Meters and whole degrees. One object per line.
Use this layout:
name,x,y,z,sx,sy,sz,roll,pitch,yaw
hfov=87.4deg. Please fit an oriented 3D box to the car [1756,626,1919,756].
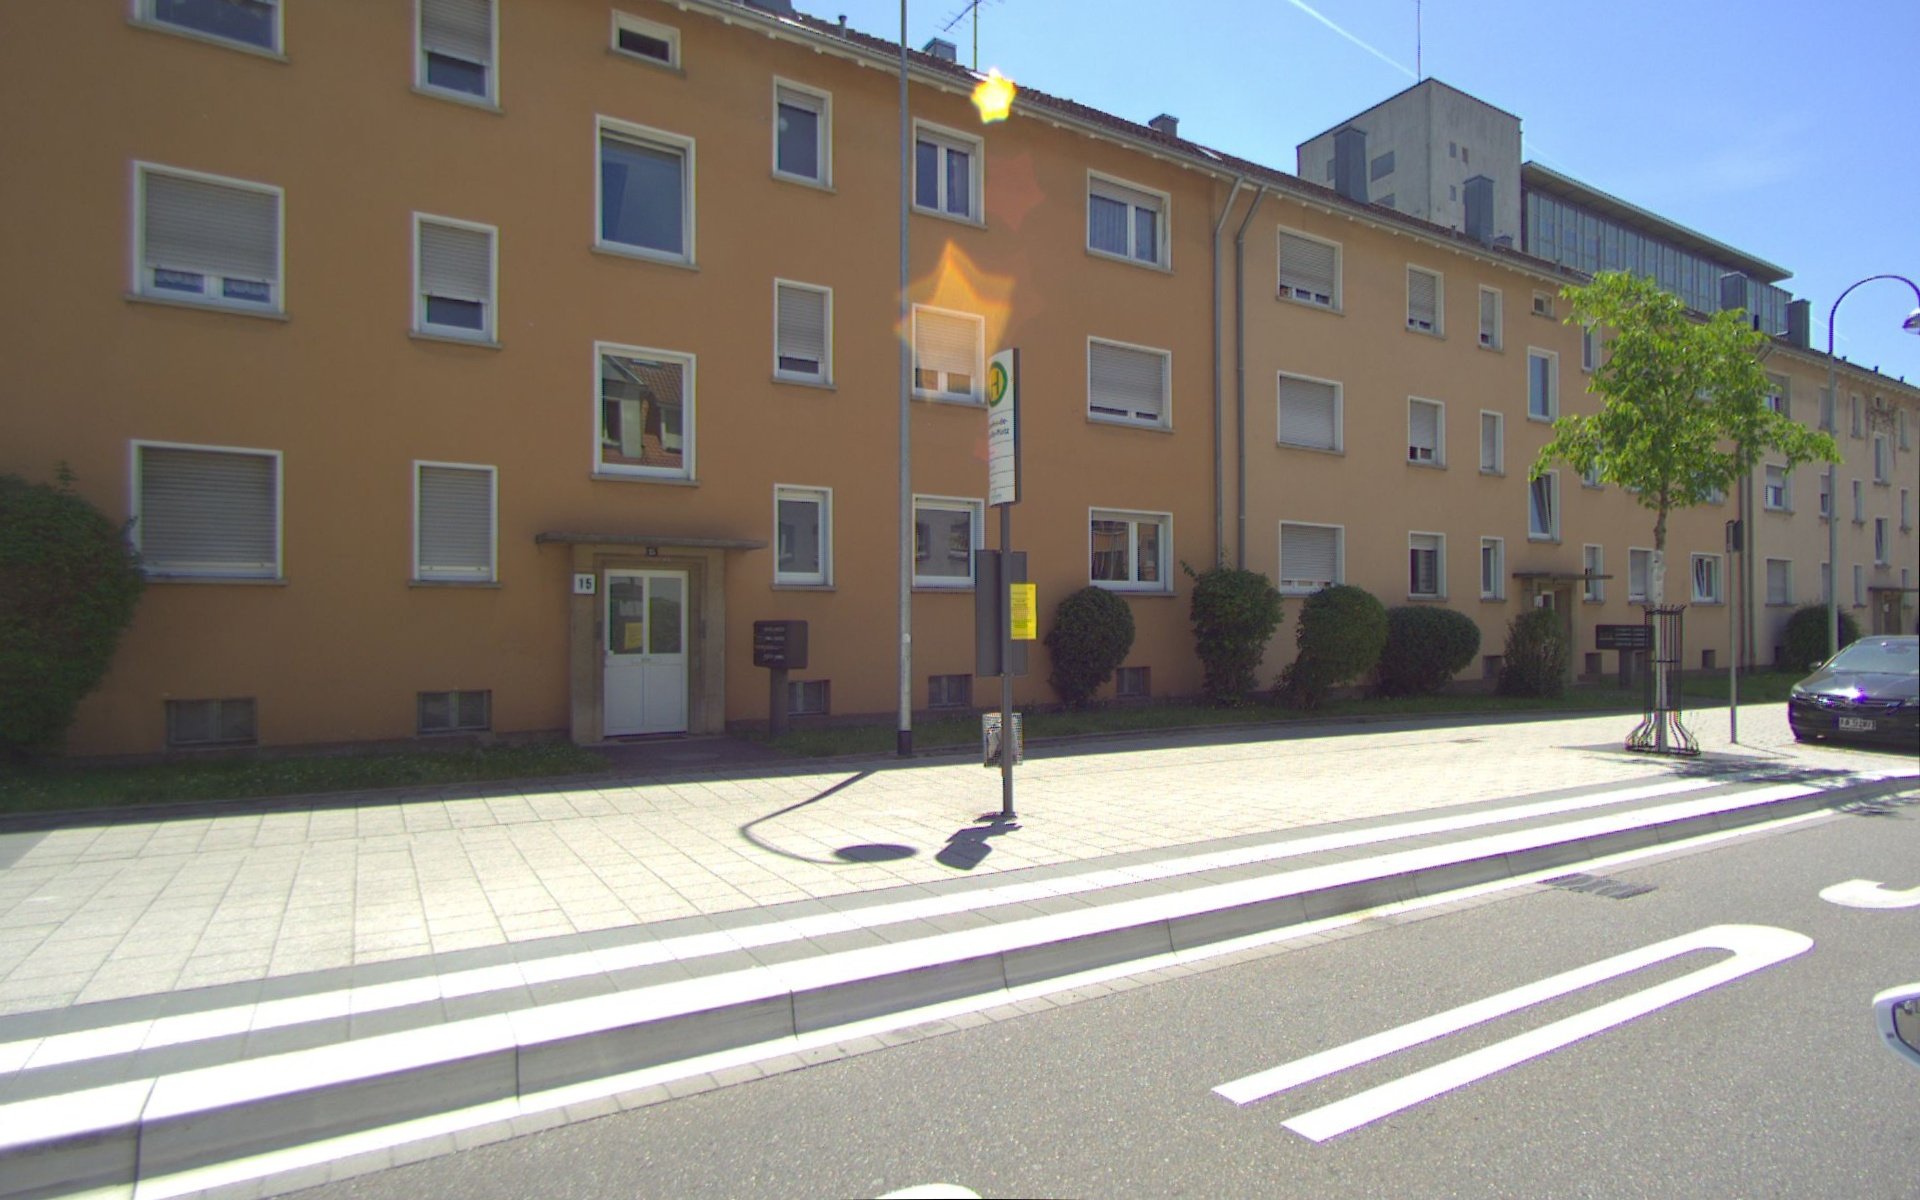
car,13.437,1.183,14.353,4.512,1.527,1.847,1,1,-32
